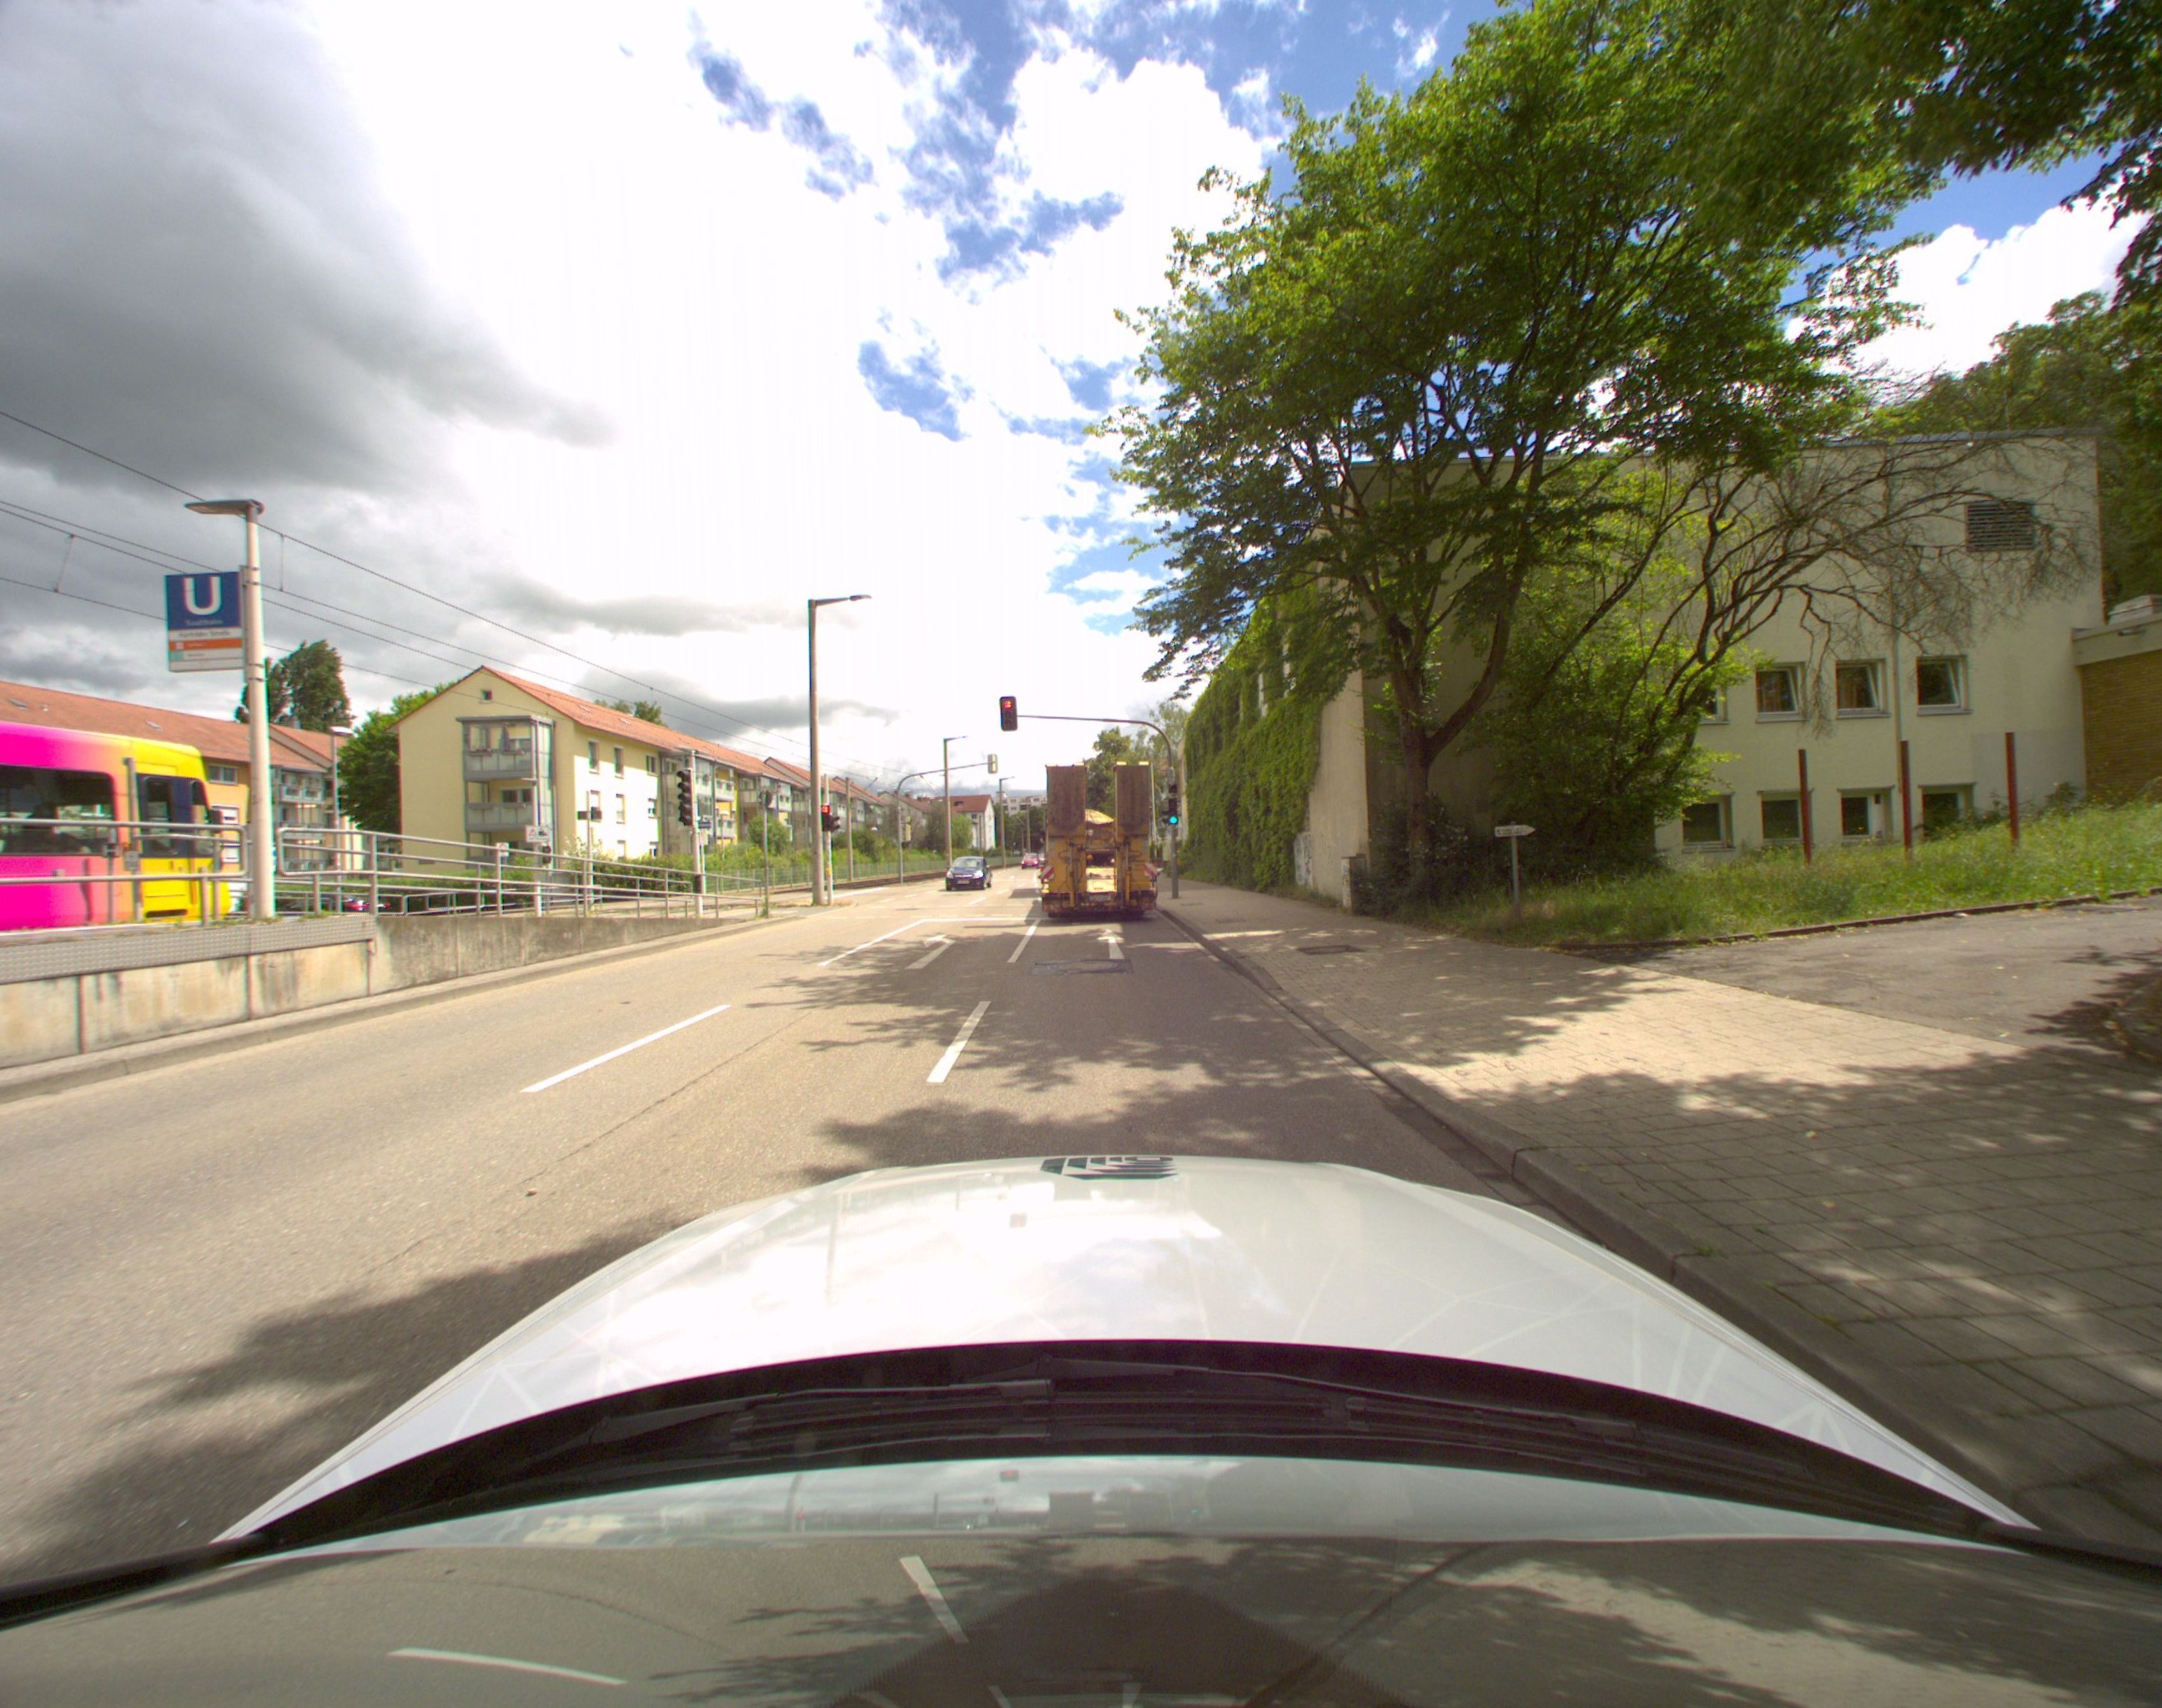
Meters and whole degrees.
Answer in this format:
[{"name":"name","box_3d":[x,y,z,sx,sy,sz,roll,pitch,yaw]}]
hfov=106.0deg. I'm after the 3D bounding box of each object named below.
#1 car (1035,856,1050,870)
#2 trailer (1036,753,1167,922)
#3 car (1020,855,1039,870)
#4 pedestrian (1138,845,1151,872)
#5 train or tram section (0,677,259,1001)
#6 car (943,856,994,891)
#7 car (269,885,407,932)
[{"name":"car","box_3d":[-4.697,1.088,99.294,1.756,1.552,3.997,-1,0,-2]},{"name":"trailer","box_3d":[0.157,-0.350,23.825,2.821,3.646,12.340,0,0,-3]},{"name":"car","box_3d":[-5.265,0.879,83.744,1.658,1.552,3.998,0,0,-1]},{"name":"pedestrian","box_3d":[4.158,0.311,53.393,0.805,1.771,0.818,0,-1,6]},{"name":"train or tram section","box_3d":[-14.397,-0.189,3.467,2.971,3.862,18.535,0,0,0]},{"name":"car","box_3d":[-4.985,0.826,36.583,1.712,1.441,4.008,-1,0,-1]},{"name":"car","box_3d":[-30.262,2.197,33.247,3.964,1.466,2.005,-6,-1,8]}]
